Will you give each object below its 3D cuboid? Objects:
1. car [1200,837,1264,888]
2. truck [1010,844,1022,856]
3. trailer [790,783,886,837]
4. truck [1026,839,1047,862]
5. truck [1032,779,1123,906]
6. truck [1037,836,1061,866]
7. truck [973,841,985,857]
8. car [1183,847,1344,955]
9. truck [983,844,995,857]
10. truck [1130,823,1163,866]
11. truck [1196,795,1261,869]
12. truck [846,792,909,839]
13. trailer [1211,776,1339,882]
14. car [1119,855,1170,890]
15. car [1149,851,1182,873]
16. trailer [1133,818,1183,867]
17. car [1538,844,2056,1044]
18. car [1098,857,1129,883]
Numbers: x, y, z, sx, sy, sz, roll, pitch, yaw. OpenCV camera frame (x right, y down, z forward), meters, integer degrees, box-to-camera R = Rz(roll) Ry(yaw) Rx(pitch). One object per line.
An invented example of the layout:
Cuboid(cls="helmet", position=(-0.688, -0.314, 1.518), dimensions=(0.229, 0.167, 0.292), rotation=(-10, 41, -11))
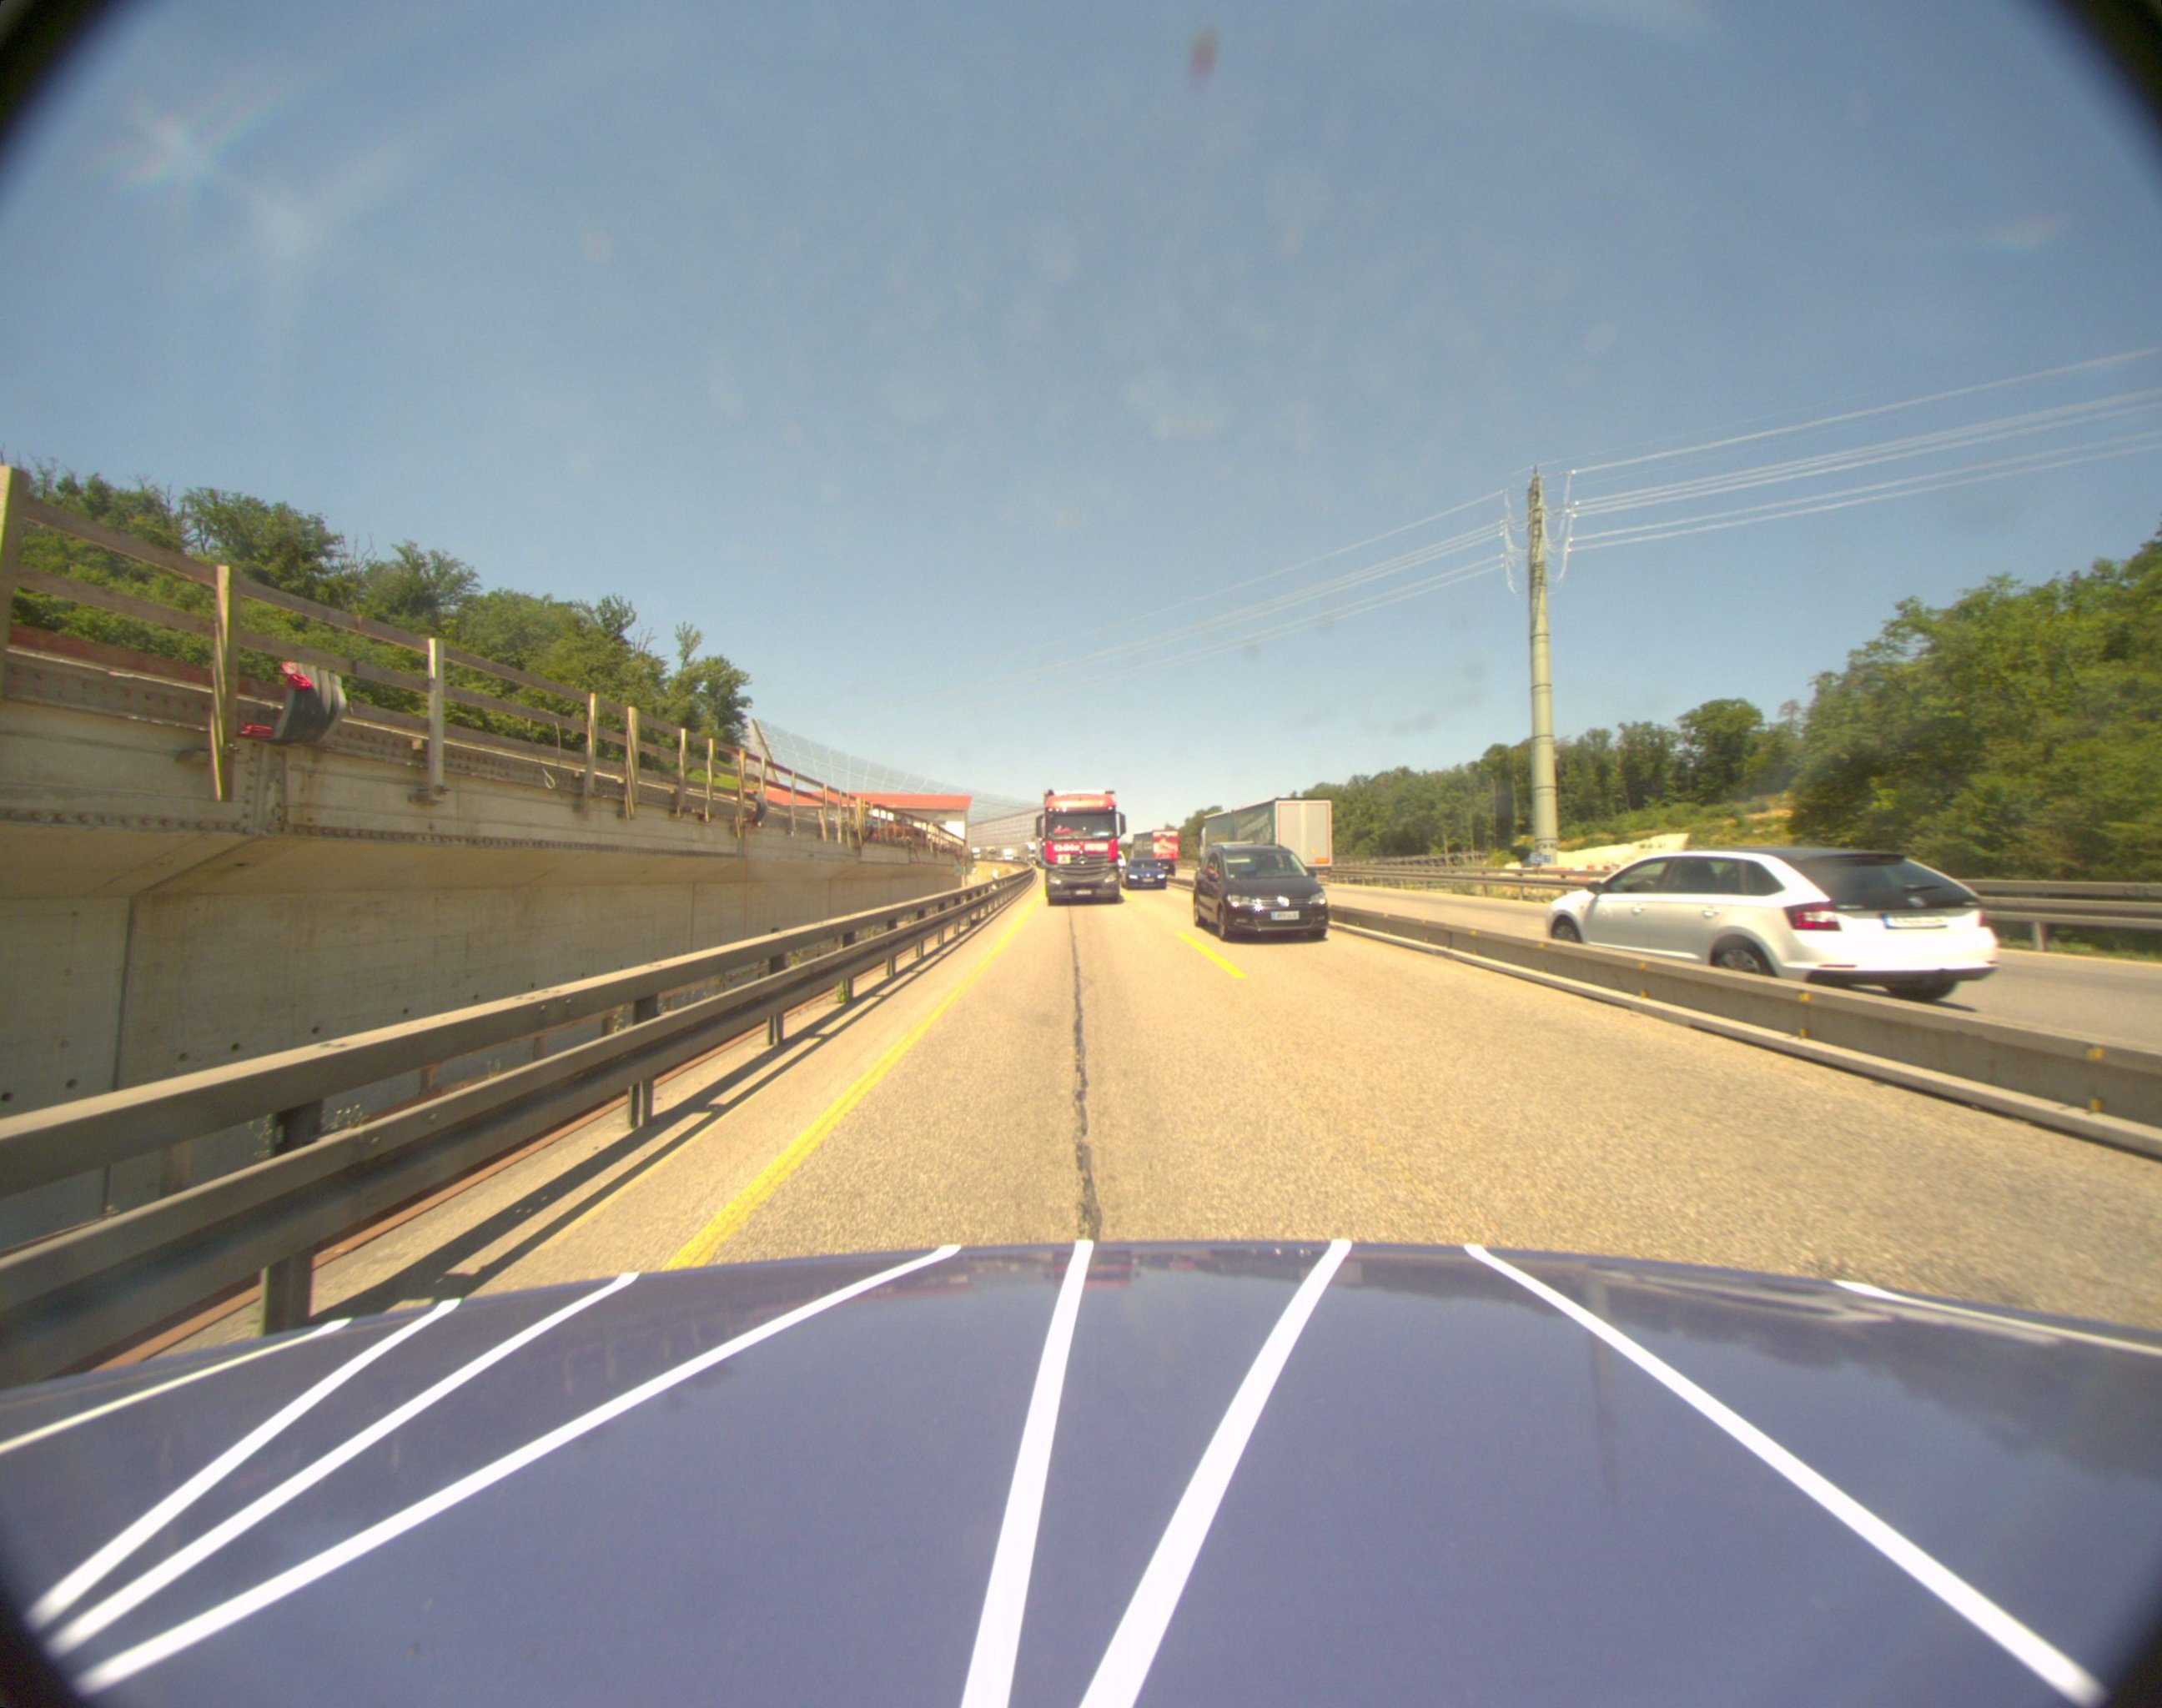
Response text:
Cuboid(cls="car", position=(6.942, 0.340, 35.462), dimensions=(1.998, 2.161, 4.831), rotation=(-2, 1, 0))
Cuboid(cls="truck", position=(-21.934, -1.464, 257.278), dimensions=(3.044, 4.033, 8.665), rotation=(-2, 1, -11))
Cuboid(cls="trailer", position=(-20.180, -3.524, 63.894), dimensions=(2.714, 3.671, 9.012), rotation=(-1, -2, 20))
Cuboid(cls="truck", position=(-8.427, -0.687, 142.609), dimensions=(2.912, 4.208, 9.232), rotation=(-2, 1, -10))
Cuboid(cls="truck", position=(-0.114, -0.456, 29.471), dimensions=(2.798, 3.986, 10.427), rotation=(-2, 1, 0))
Cuboid(cls="truck", position=(-4.605, -0.450, 107.727), dimensions=(2.672, 3.986, 10.423), rotation=(-2, 1, -5))
Cuboid(cls="truck", position=(-31.840, -1.579, 237.658), dimensions=(3.044, 4.778, 8.932), rotation=(-2, 1, -11))
Cuboid(cls="car", position=(3.305, 0.776, 14.916), dimensions=(1.861, 1.695, 5.304), rotation=(-1, 0, 0))
Cuboid(cls="truck", position=(-27.972, -1.018, 232.220), dimensions=(3.042, 3.725, 8.246), rotation=(-2, 1, -3))
Cuboid(cls="truck", position=(7.661, -1.052, 89.083), dimensions=(3.069, 4.793, 4.644), rotation=(-2, 0, -3))
Cuboid(cls="truck", position=(9.613, -1.399, 50.170), dimensions=(2.854, 4.554, 5.785), rotation=(-2, 1, -2))
Cuboid(cls="truck", position=(-18.370, -3.401, 68.950), dimensions=(2.714, 3.672, 5.721), rotation=(-1, -2, 20))
Cuboid(cls="trailer", position=(9.893, -1.220, 41.071), dimensions=(2.841, 4.615, 14.576), rotation=(-2, 1, -1))
Cuboid(cls="car", position=(2.972, 0.844, 36.562), dimensions=(1.896, 1.546, 4.785), rotation=(-1, 0, -1))
Cuboid(cls="car", position=(6.323, 0.545, 57.198), dimensions=(1.907, 1.454, 4.756), rotation=(-2, 1, 0))
Cuboid(cls="trailer", position=(8.079, -1.086, 82.111), dimensions=(3.073, 4.787, 13.997), rotation=(-2, 0, -4))
Cuboid(cls="car", position=(6.840, 0.680, 8.009), dimensions=(1.585, 1.513, 4.153), rotation=(-2, 1, 1))
Cuboid(cls="car", position=(2.414, 1.195, 58.112), dimensions=(1.947, 1.858, 5.222), rotation=(-1, 0, -2))
